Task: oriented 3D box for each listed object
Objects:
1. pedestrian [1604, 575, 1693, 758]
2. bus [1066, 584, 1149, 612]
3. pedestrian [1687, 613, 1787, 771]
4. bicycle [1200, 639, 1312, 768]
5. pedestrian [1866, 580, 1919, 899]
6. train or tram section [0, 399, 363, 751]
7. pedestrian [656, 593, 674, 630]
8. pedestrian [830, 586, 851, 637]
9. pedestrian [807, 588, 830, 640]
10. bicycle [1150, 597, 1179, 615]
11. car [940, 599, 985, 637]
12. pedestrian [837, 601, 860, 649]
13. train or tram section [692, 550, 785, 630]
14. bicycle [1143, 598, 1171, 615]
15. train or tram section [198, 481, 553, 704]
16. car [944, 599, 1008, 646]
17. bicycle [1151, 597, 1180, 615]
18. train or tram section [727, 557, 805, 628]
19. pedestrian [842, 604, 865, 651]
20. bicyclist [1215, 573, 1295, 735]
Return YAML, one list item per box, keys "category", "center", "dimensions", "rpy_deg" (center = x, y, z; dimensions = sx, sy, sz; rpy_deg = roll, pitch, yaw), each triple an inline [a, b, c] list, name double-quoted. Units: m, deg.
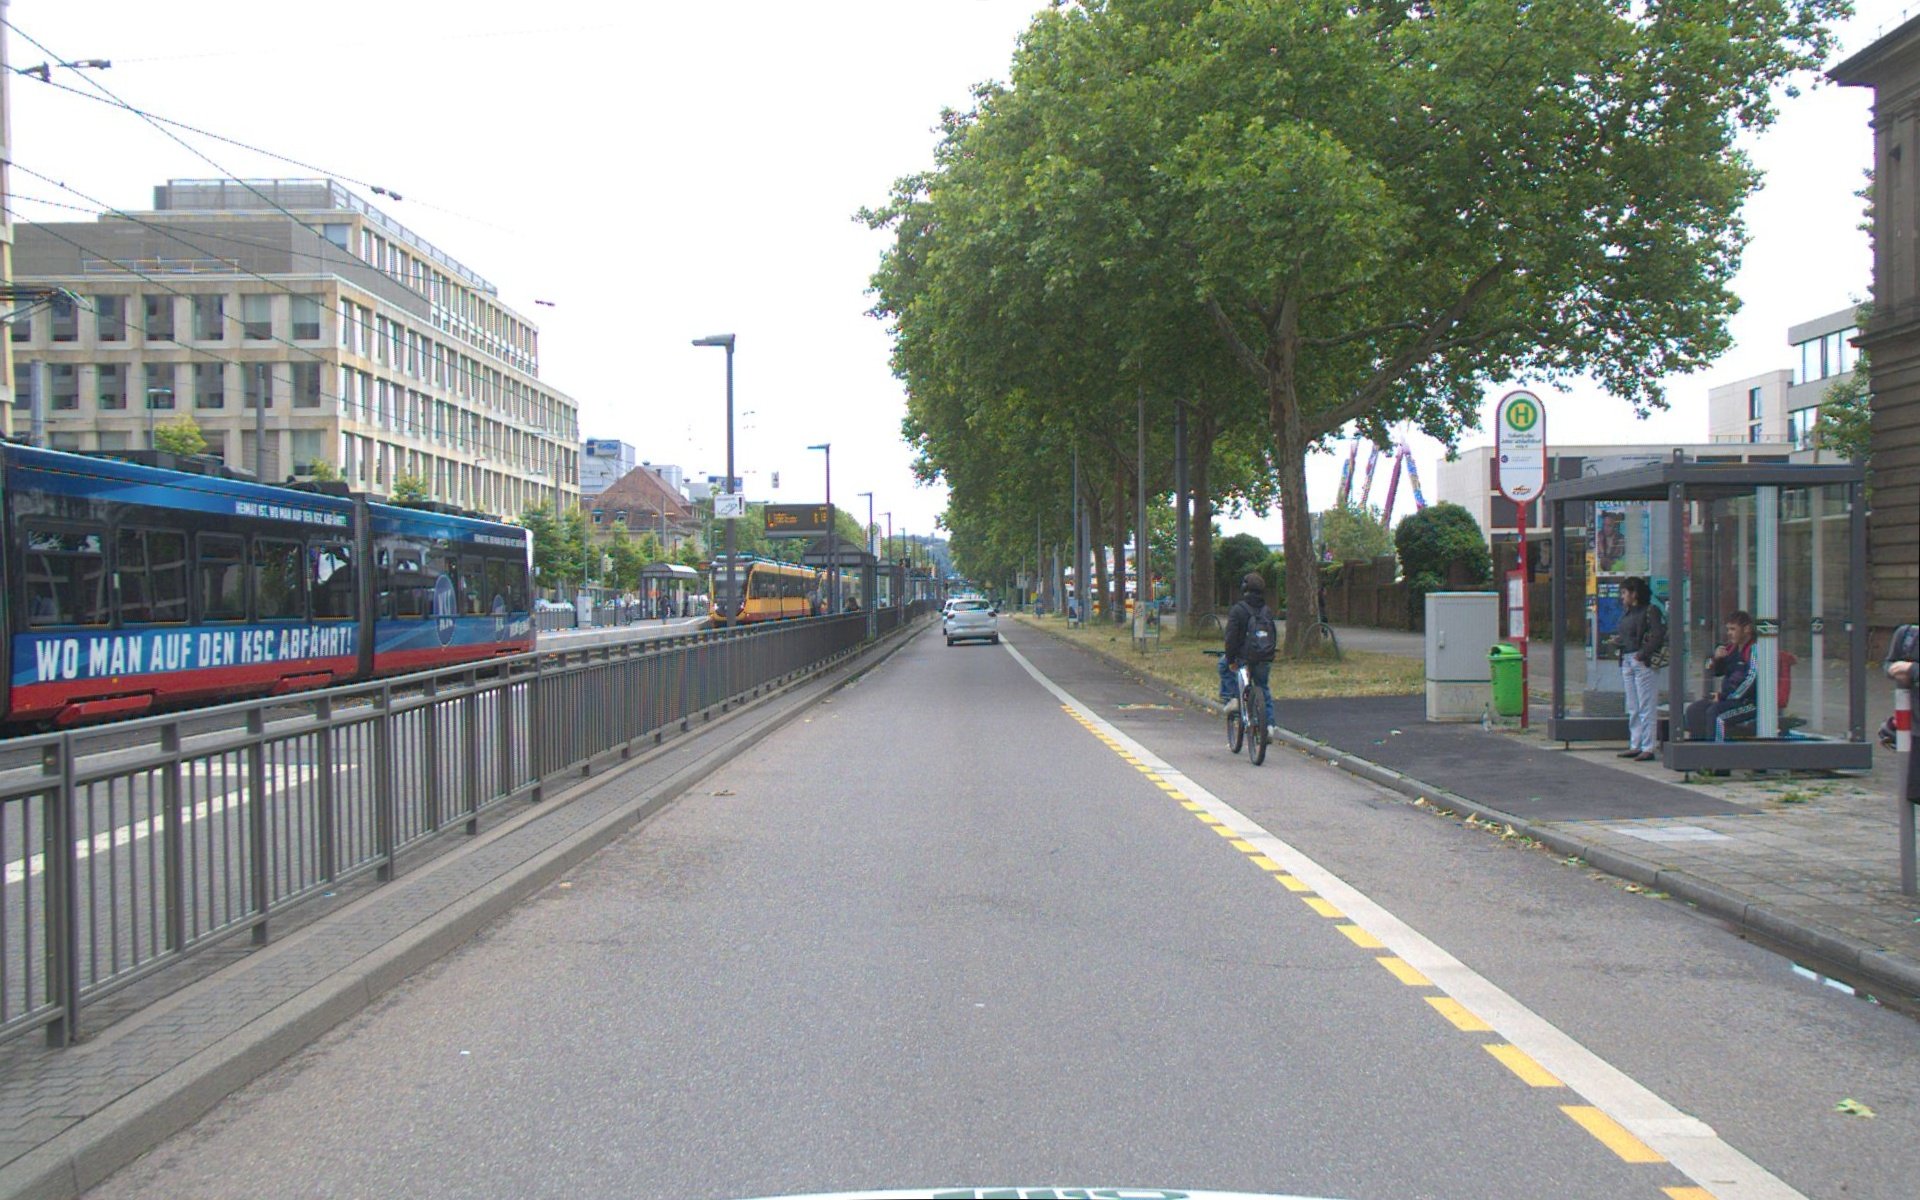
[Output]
- category: "pedestrian"
  center: [6.155, 0.589, 14.817]
  dimensions: [0.467, 1.590, 0.702]
  rpy_deg: [-1, -1, 0]
- category: "bus"
  center: [16.698, -0.183, 187.471]
  dimensions: [9.090, 3.012, 1.999]
  rpy_deg: [-1, -1, -2]
- category: "pedestrian"
  center: [6.365, 0.738, 13.573]
  dimensions: [0.467, 1.255, 0.702]
  rpy_deg: [-1, -1, 0]
- category: "bicycle"
  center: [2.936, 0.999, 16.632]
  dimensions: [0.639, 1.170, 2.282]
  rpy_deg: [-1, -1, -1]
- category: "pedestrian"
  center: [4.958, 0.677, 8.326]
  dimensions: [0.540, 1.555, 0.639]
  rpy_deg: [-1, -1, 17]
- category: "train or tram section"
  center: [-11.543, -0.184, 22.322]
  dimensions: [2.796, 3.704, 11.697]
  rpy_deg: [-1, -1, -1]
- category: "pedestrian"
  center: [-14.694, 0.567, 82.362]
  dimensions: [0.697, 1.827, 1.160]
  rpy_deg: [-1, -1, -1]
- category: "pedestrian"
  center: [-4.334, 0.409, 60.084]
  dimensions: [0.657, 1.825, 1.111]
  rpy_deg: [-1, -1, -8]
- category: "pedestrian"
  center: [-5.085, 0.501, 59.199]
  dimensions: [0.658, 1.825, 1.109]
  rpy_deg: [-1, -1, -13]
- category: "bicycle"
  center: [13.563, 0.386, 109.746]
  dimensions: [1.852, 1.124, 0.550]
  rpy_deg: [-3, -1, -2]
- category: "car"
  center: [0.149, 0.775, 72.560]
  dimensions: [1.802, 1.579, 4.001]
  rpy_deg: [-2, 0, 2]
- category: "pedestrian"
  center: [-3.214, 0.712, 47.841]
  dimensions: [0.598, 1.364, 0.600]
  rpy_deg: [-1, -1, 0]
- category: "train or tram section"
  center: [-11.515, -0.435, 87.242]
  dimensions: [3.171, 3.929, 11.311]
  rpy_deg: [-1, -1, 1]
- category: "bicycle"
  center: [13.682, 0.448, 114.909]
  dimensions: [1.883, 1.110, 0.550]
  rpy_deg: [-3, -1, -2]
- category: "train or tram section"
  center: [-11.628, -0.061, 34.965]
  dimensions: [2.796, 3.757, 13.518]
  rpy_deg: [-1, -1, -1]
- category: "car"
  center: [0.562, 0.744, 55.492]
  dimensions: [1.845, 1.478, 4.002]
  rpy_deg: [-1, -1, 5]
- category: "bicycle"
  center: [13.707, 0.415, 110.329]
  dimensions: [1.862, 1.116, 0.550]
  rpy_deg: [-3, -1, -2]
- category: "train or tram section"
  center: [-11.433, -0.363, 98.595]
  dimensions: [3.098, 3.929, 11.311]
  rpy_deg: [-1, -1, 1]
- category: "pedestrian"
  center: [-3.156, 0.819, 49.125]
  dimensions: [0.598, 1.396, 0.600]
  rpy_deg: [-1, -1, 0]
- category: "bicyclist"
  center: [2.911, 0.529, 16.383]
  dimensions: [0.628, 1.557, 0.664]
  rpy_deg: [-1, -1, -2]
